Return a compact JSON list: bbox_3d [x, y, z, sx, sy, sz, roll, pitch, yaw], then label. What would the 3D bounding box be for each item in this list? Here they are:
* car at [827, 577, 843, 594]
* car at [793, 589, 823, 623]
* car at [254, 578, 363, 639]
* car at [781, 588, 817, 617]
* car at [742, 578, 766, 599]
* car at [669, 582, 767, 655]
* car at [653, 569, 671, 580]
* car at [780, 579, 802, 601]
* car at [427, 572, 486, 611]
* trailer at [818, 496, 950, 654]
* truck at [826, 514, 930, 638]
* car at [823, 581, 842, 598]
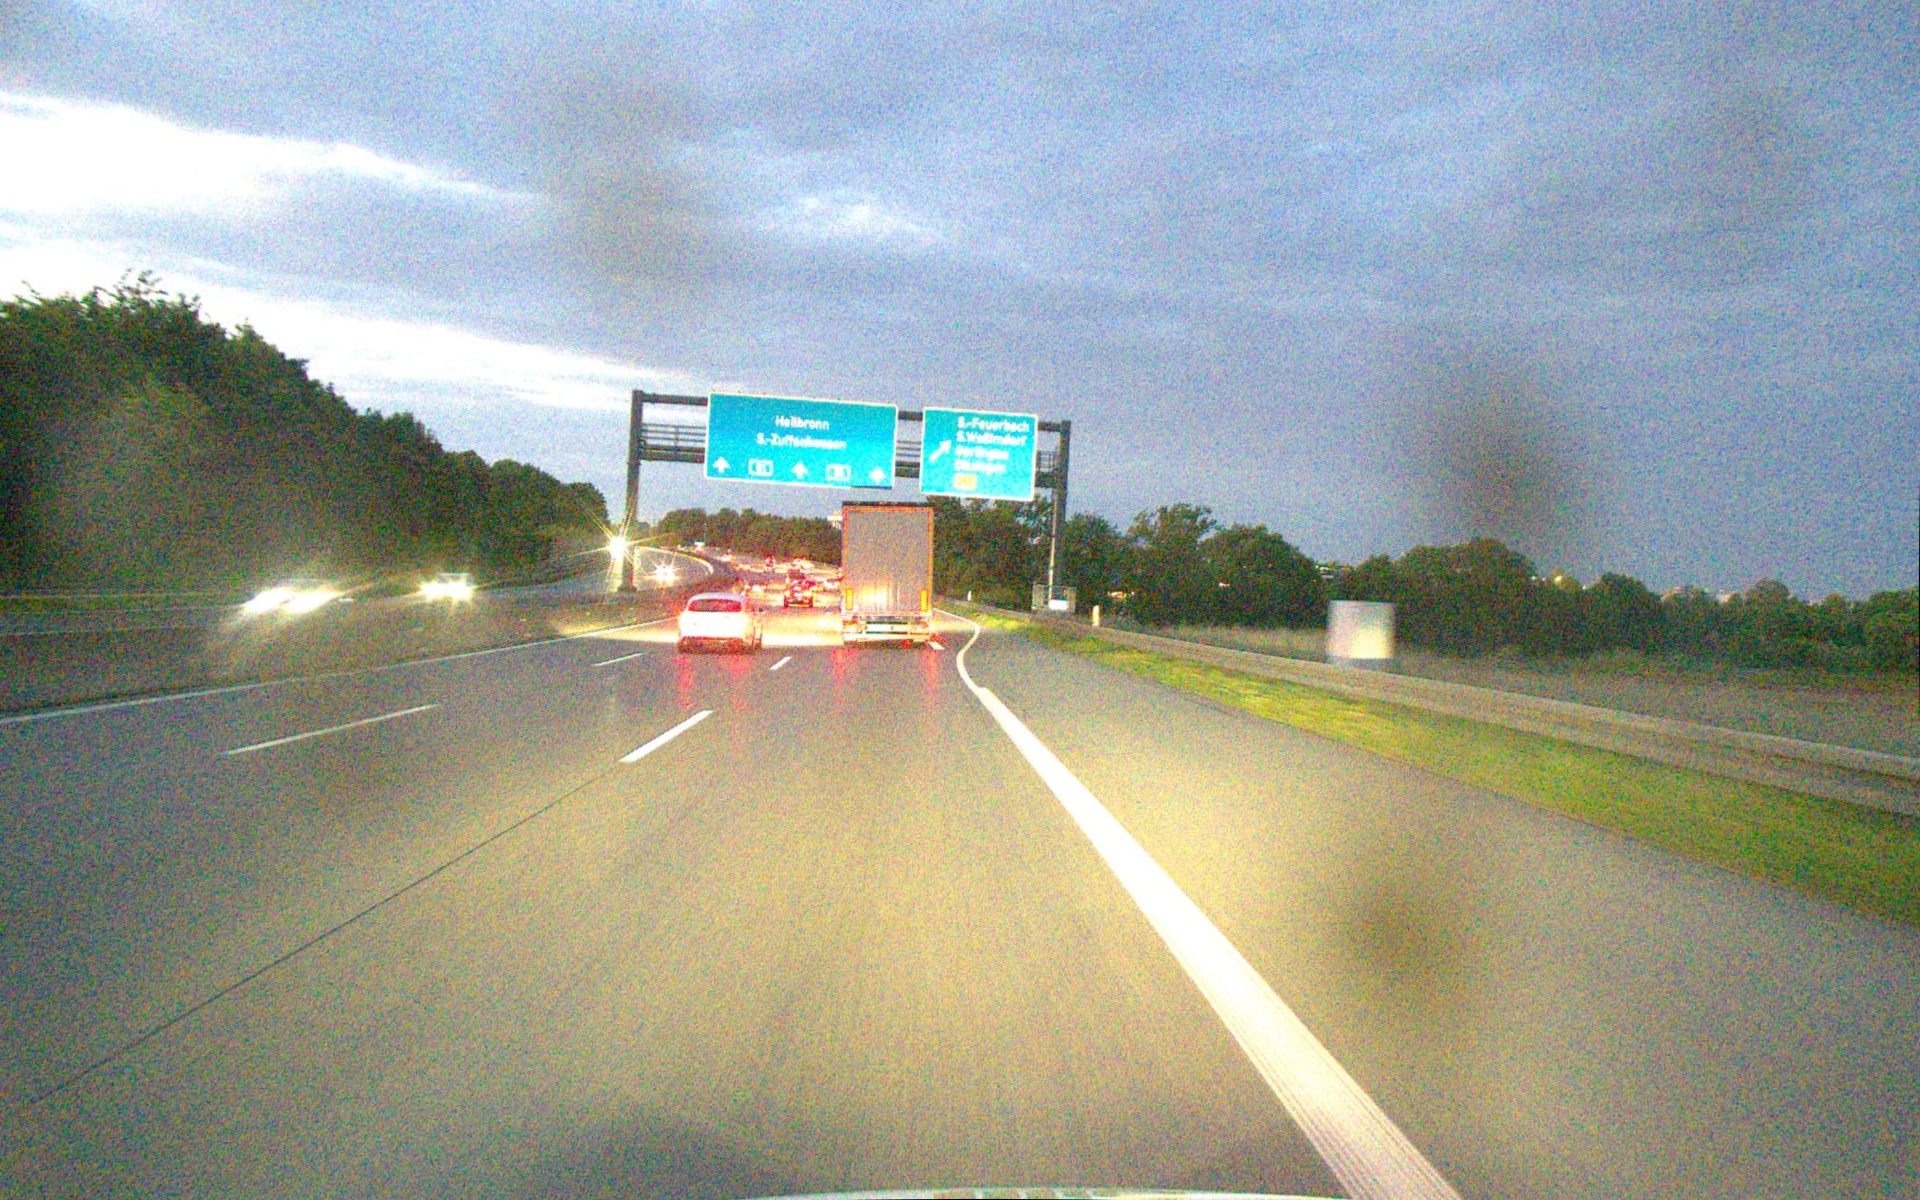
[{"bbox_3d":[-15.848,-1.815,210.061,1.954,2.013,3.997,2,-1,-3],"label":"car"},{"bbox_3d":[-11.328,0.462,123.179,1.956,2.422,3.992,2,-1,-8],"label":"car"},{"bbox_3d":[-22.055,0.315,56.210,1.837,1.926,5.055,2,-1,-2],"label":"car"},{"bbox_3d":[-10.148,0.190,104.766,2.024,1.715,4.573,2,-1,-3],"label":"car"},{"bbox_3d":[-17.280,-0.954,138.898,1.727,1.602,4.573,2,-1,-4],"label":"car"},{"bbox_3d":[-5.975,0.483,41.352,1.868,1.642,4.801,2,-1,-2],"label":"car"},{"bbox_3d":[-40.485,-3.486,224.783,1.954,1.444,4.148,2,0,-4],"label":"car"},{"bbox_3d":[-17.340,-0.990,169.638,1.954,2.049,3.997,2,-1,-3],"label":"car"},{"bbox_3d":[-27.090,-0.424,89.081,1.954,1.926,4.675,2,-1,-4],"label":"car"},{"bbox_3d":[-2.494,-0.759,51.813,3.480,4.188,15.053,1,1,-4],"label":"trailer"},{"bbox_3d":[-2.960,-0.855,59.034,3.480,4.162,6.147,1,1,-4],"label":"truck"},{"bbox_3d":[-13.385,-1.080,173.676,1.954,1.561,3.997,2,-1,-4],"label":"car"}]
